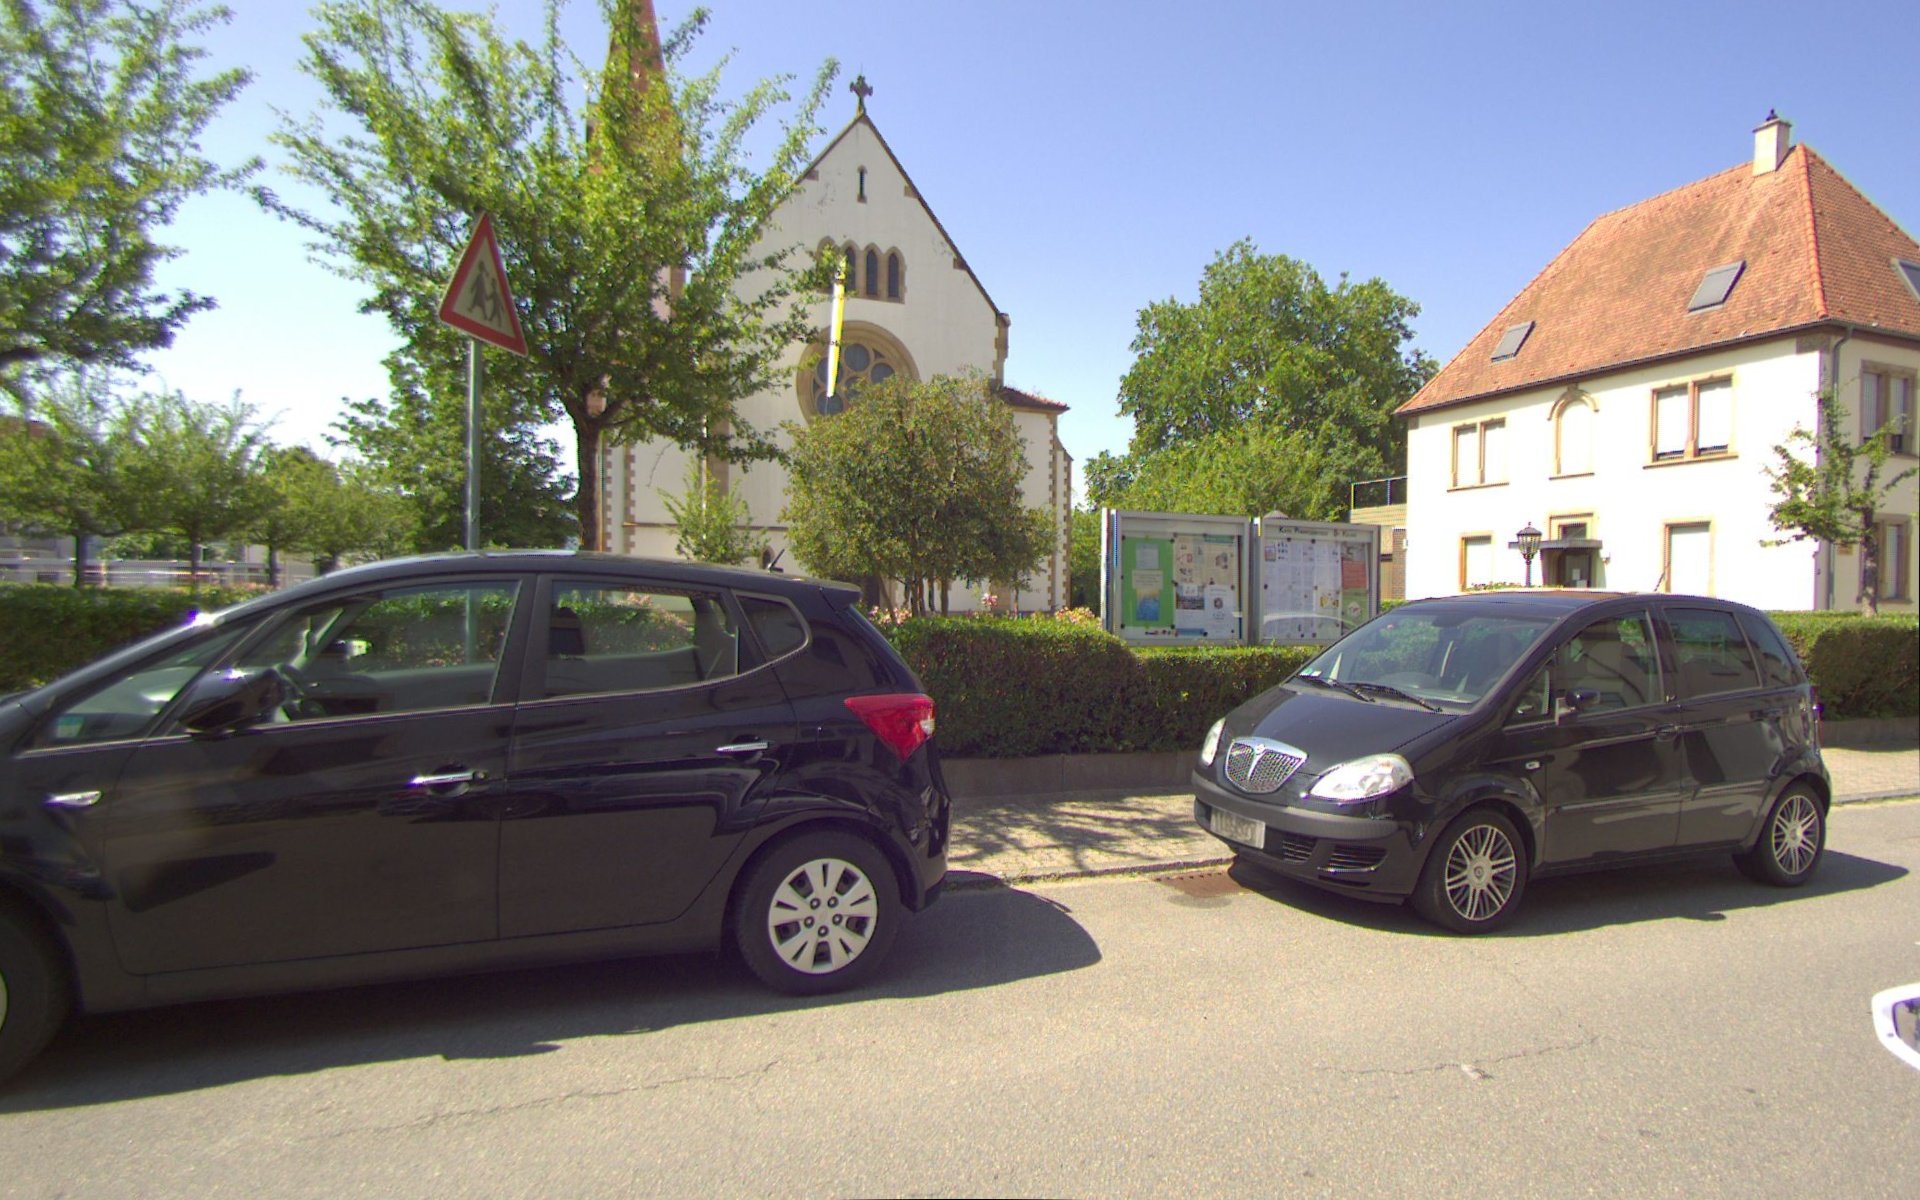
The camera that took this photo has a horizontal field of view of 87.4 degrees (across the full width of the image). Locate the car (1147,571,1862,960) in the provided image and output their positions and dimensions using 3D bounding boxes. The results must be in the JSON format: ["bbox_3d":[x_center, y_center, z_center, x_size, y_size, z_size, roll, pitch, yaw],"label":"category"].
[{"bbox_3d":[3.104,0.718,5.748,3.714,1.650,1.634,1,0,-23],"label":"car"}]

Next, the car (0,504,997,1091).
[{"bbox_3d":[-2.029,0.559,3.993,3.964,1.626,1.812,1,0,-21],"label":"car"}]
